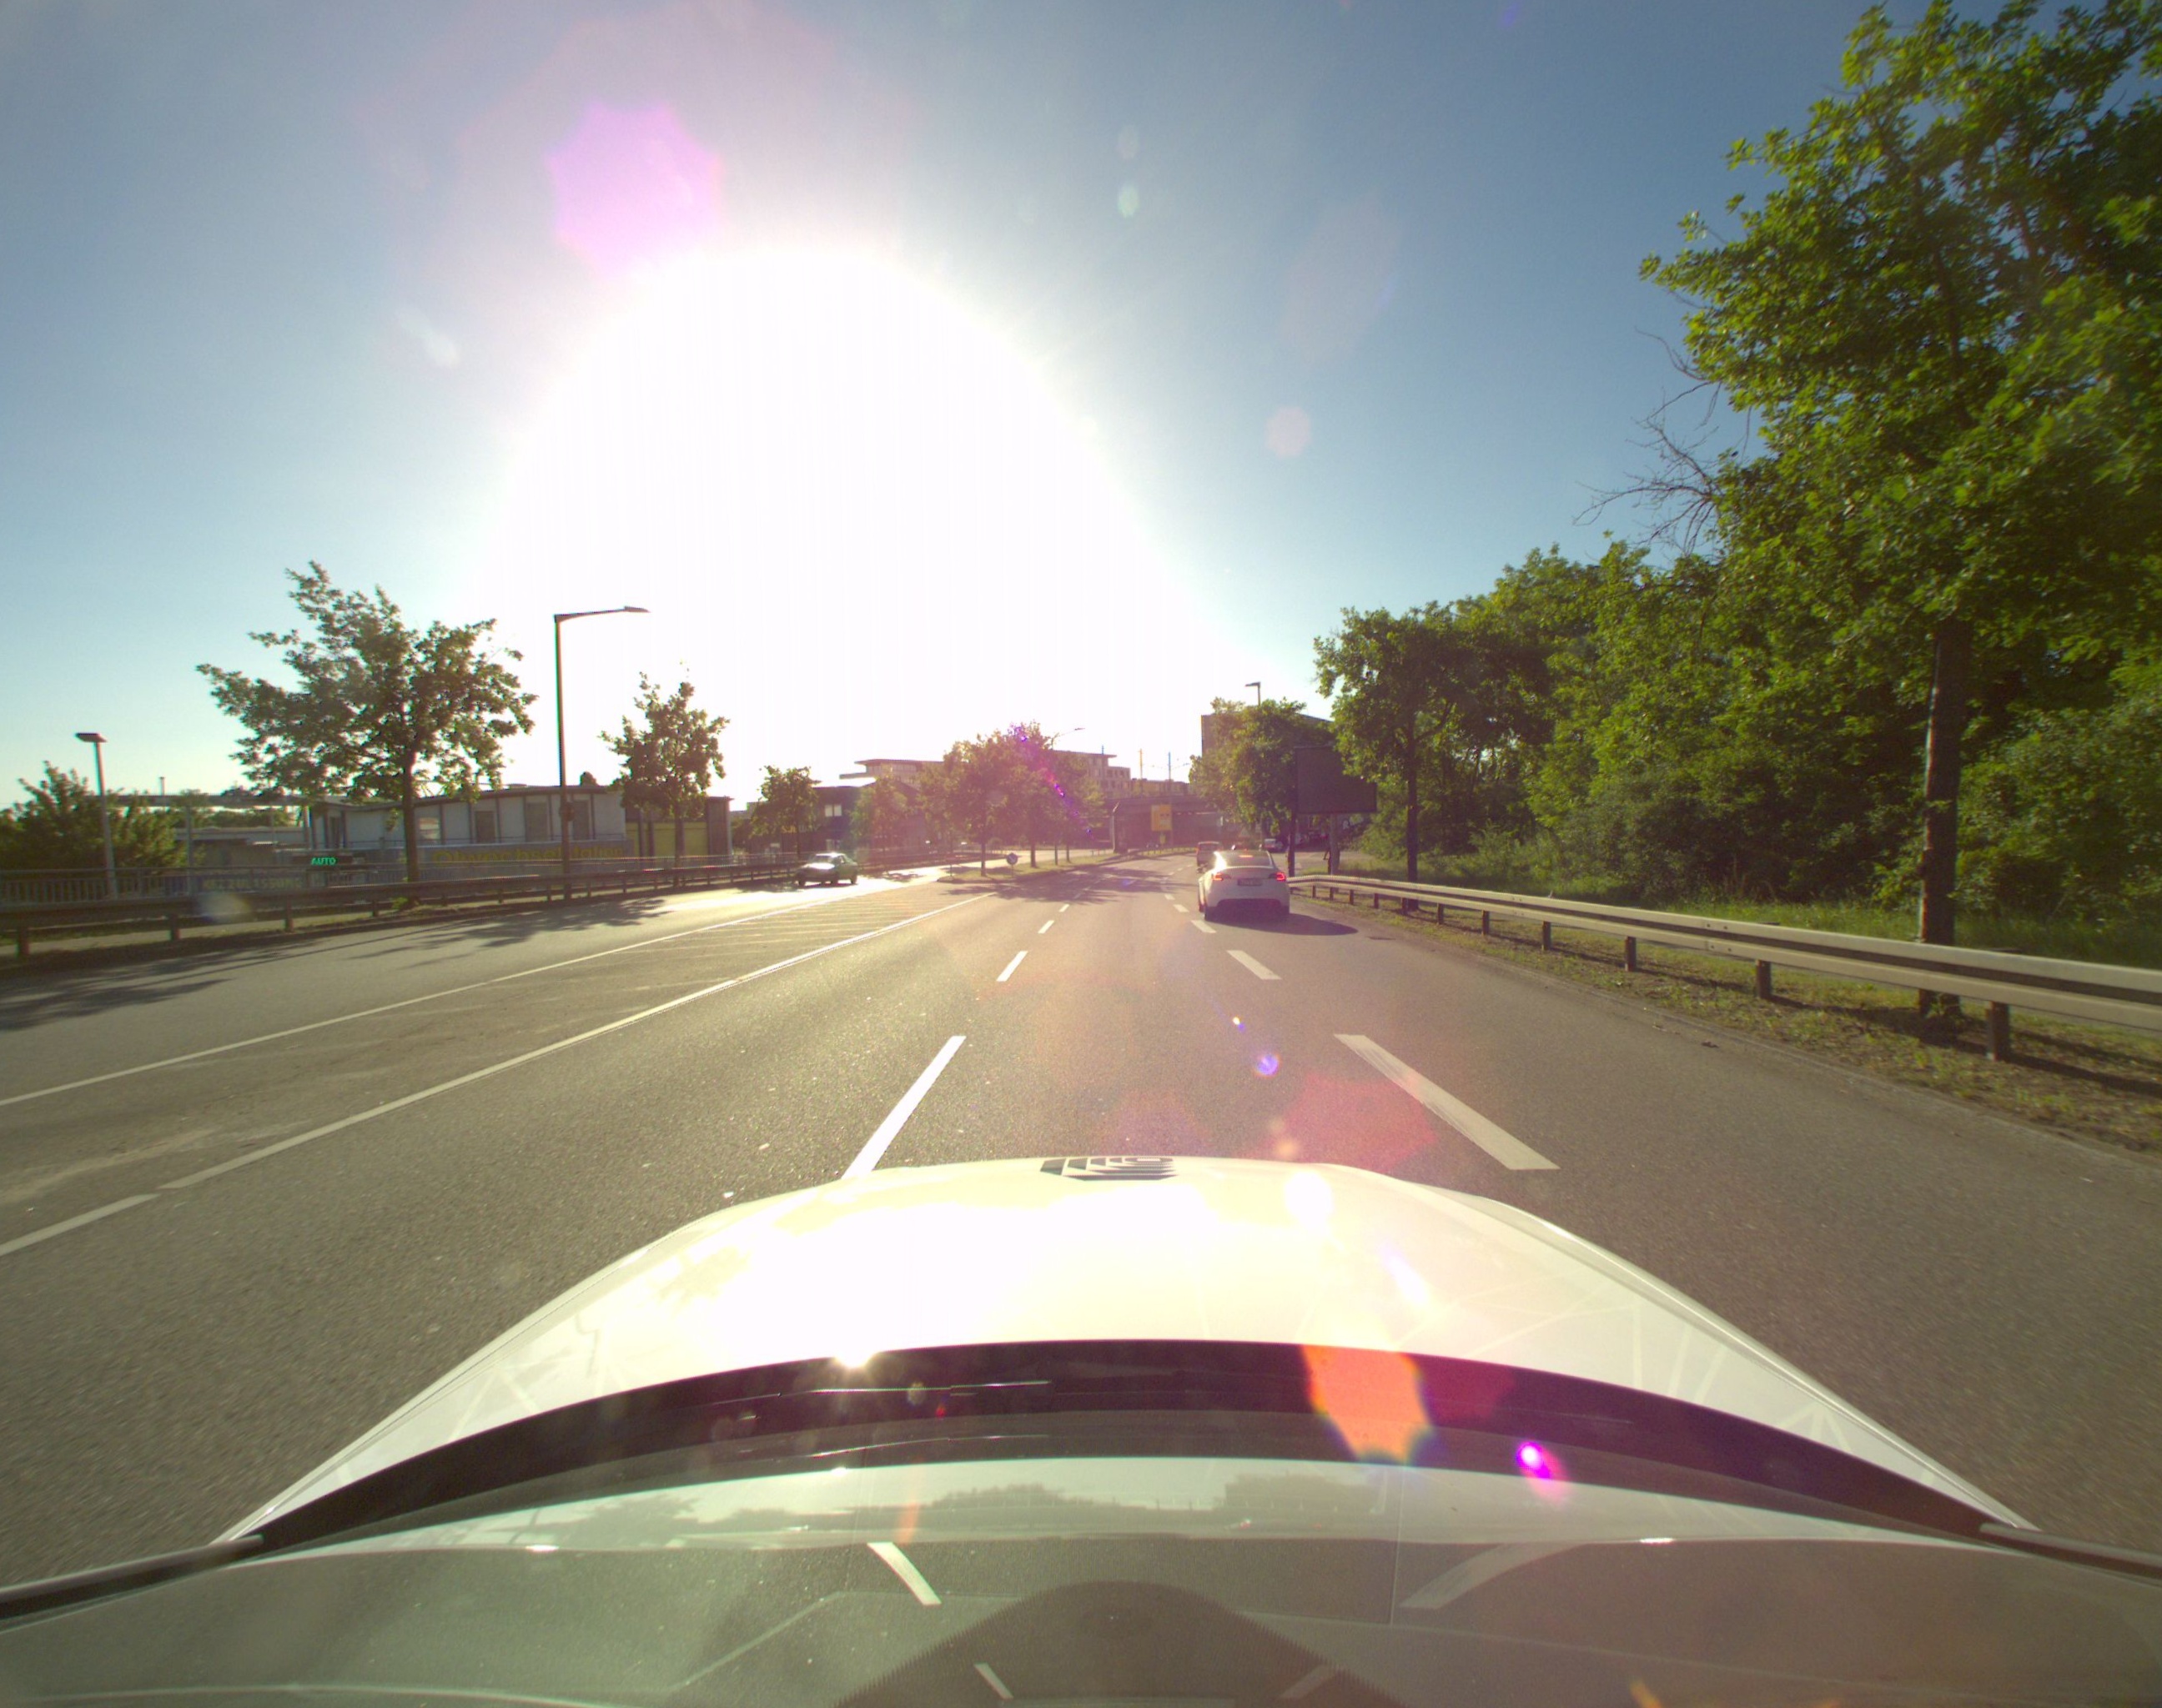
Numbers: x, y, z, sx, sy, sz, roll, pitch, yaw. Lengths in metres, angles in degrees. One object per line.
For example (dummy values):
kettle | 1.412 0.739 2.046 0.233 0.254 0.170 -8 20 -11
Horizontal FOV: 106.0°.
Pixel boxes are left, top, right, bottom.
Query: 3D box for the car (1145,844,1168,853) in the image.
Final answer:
car | 10.449 -0.770 113.073 1.784 1.310 4.642 0 1 24

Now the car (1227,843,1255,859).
car | 15.853 -0.314 80.460 1.589 1.434 3.702 1 3 30

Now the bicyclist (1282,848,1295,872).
bicyclist | 14.679 0.434 57.471 0.739 1.619 0.917 -3 0 19

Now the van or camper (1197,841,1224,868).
van or camper | 10.250 -0.003 64.275 1.946 1.883 4.896 -1 2 11

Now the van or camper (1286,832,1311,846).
van or camper | 27.855 -1.921 104.227 1.808 1.790 4.574 1 2 31

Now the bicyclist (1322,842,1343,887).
bicyclist | 10.401 0.430 33.715 0.670 1.776 0.952 -3 0 13

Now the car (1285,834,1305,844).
car | 31.974 -2.205 121.677 1.691 1.452 3.767 0 2 35

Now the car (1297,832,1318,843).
car | 32.285 -2.347 116.176 1.691 1.522 3.767 0 2 35

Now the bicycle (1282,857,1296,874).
bicycle | 14.728 0.812 57.597 0.737 1.112 2.463 -3 0 18

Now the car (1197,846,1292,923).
car | 3.834 0.703 19.770 1.904 1.641 4.417 0 -1 6

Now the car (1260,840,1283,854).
car | 21.416 -0.783 91.439 1.747 1.475 4.314 0 2 25

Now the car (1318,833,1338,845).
car | 35.332 -2.148 116.383 1.691 1.522 3.767 0 2 35

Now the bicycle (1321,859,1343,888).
bicycle | 10.468 0.782 33.986 0.690 1.095 2.126 -3 0 14

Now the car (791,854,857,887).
car | -11.538 0.702 36.848 1.725 1.385 4.493 0 0 -2

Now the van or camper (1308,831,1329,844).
van or camper | 35.631 -2.511 122.184 1.737 1.813 3.984 0 2 37
